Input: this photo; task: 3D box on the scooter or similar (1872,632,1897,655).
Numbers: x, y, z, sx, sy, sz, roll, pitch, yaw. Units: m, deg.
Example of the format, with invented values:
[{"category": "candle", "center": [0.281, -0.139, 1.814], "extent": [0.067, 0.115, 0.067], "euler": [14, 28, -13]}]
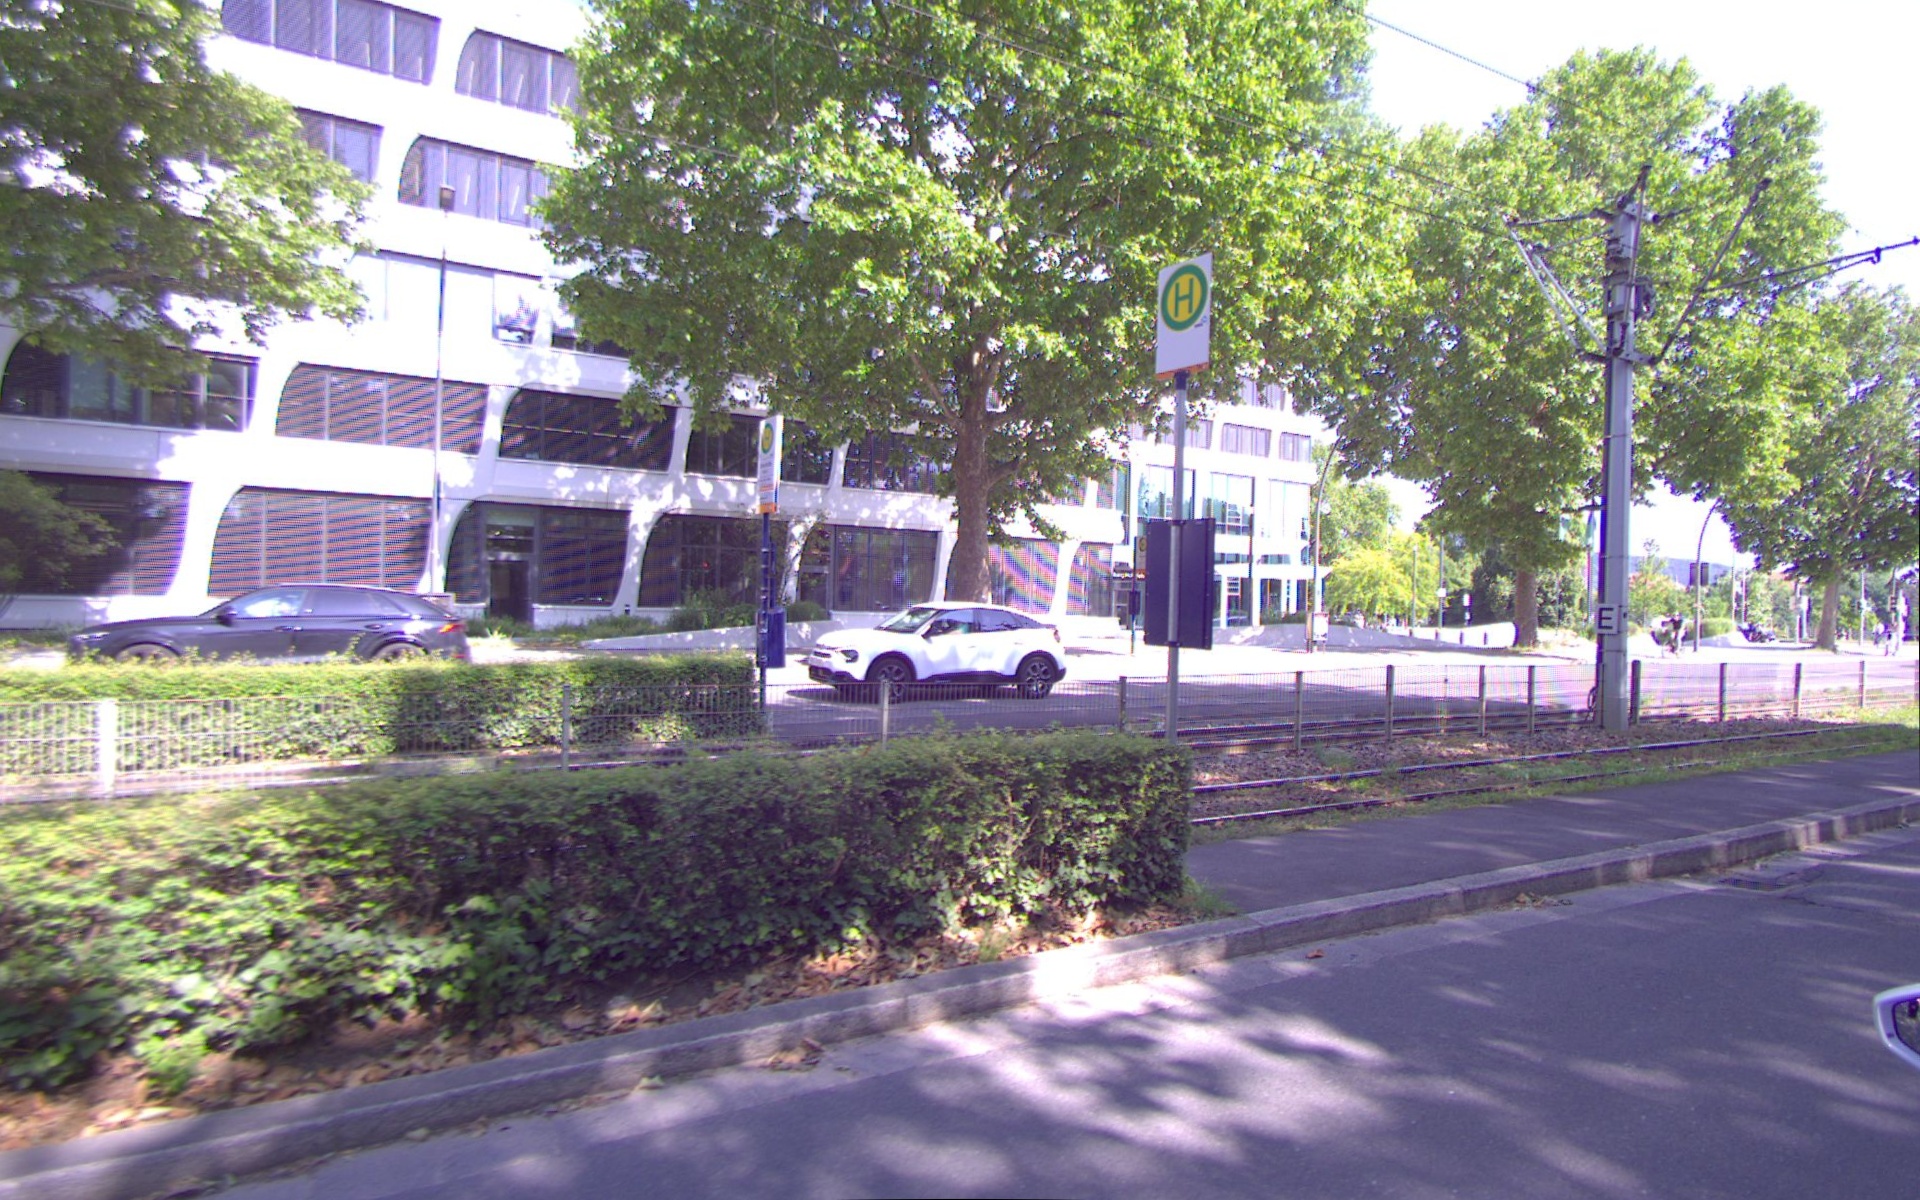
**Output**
[{"category": "scooter or similar", "center": [47.111, 2.206, 51.181], "extent": [1.233, 1.127, 0.545], "euler": [1, 0, -29]}]

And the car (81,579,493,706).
[{"category": "car", "center": [-9.717, 0.590, 15.026], "extent": [4.837, 1.646, 1.821], "euler": [1, 0, -30]}]

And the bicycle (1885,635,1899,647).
[{"category": "bicycle", "center": [59.883, 2.647, 64.538], "extent": [1.135, 0.758, 0.417], "euler": [1, 0, -35]}]

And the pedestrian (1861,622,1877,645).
[{"category": "pedestrian", "center": [62.236, 2.306, 68.776], "extent": [0.637, 1.562, 0.620], "euler": [1, 0, -30]}]

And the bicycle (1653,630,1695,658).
[{"category": "bicycle", "center": [29.498, 1.811, 41.472], "extent": [1.861, 1.109, 0.664], "euler": [1, 0, -29]}]

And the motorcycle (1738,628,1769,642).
[{"category": "motorcycle", "center": [56.036, 2.478, 70.952], "extent": [0.642, 0.903, 1.637], "euler": [1, 0, -28]}]

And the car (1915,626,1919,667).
[{"category": "car", "center": [38.218, 1.795, 37.991], "extent": [4.331, 1.508, 1.789], "euler": [1, 0, -29]}]

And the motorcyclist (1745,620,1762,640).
[{"category": "motorcyclist", "center": [56.029, 2.123, 70.965], "extent": [0.596, 1.332, 0.750], "euler": [1, 0, -28]}]

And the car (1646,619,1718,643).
[{"category": "car", "center": [52.603, 2.231, 73.246], "extent": [1.747, 1.569, 3.831], "euler": [1, 0, -28]}]

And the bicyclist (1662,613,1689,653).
[{"category": "bicyclist", "center": [29.578, 1.349, 41.501], "extent": [0.828, 1.625, 0.572], "euler": [1, 0, -29]}]

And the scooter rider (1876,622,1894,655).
[{"category": "scooter rider", "center": [47.138, 1.946, 51.192], "extent": [0.559, 1.653, 0.504], "euler": [1, 0, -29]}]

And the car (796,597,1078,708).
[{"category": "car", "center": [-0.336, 0.802, 16.398], "extent": [4.253, 1.584, 1.802], "euler": [1, 0, -30]}]

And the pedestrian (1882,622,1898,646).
[{"category": "pedestrian", "center": [62.814, 2.306, 67.842], "extent": [0.773, 1.562, 0.619], "euler": [1, 0, -30]}]
